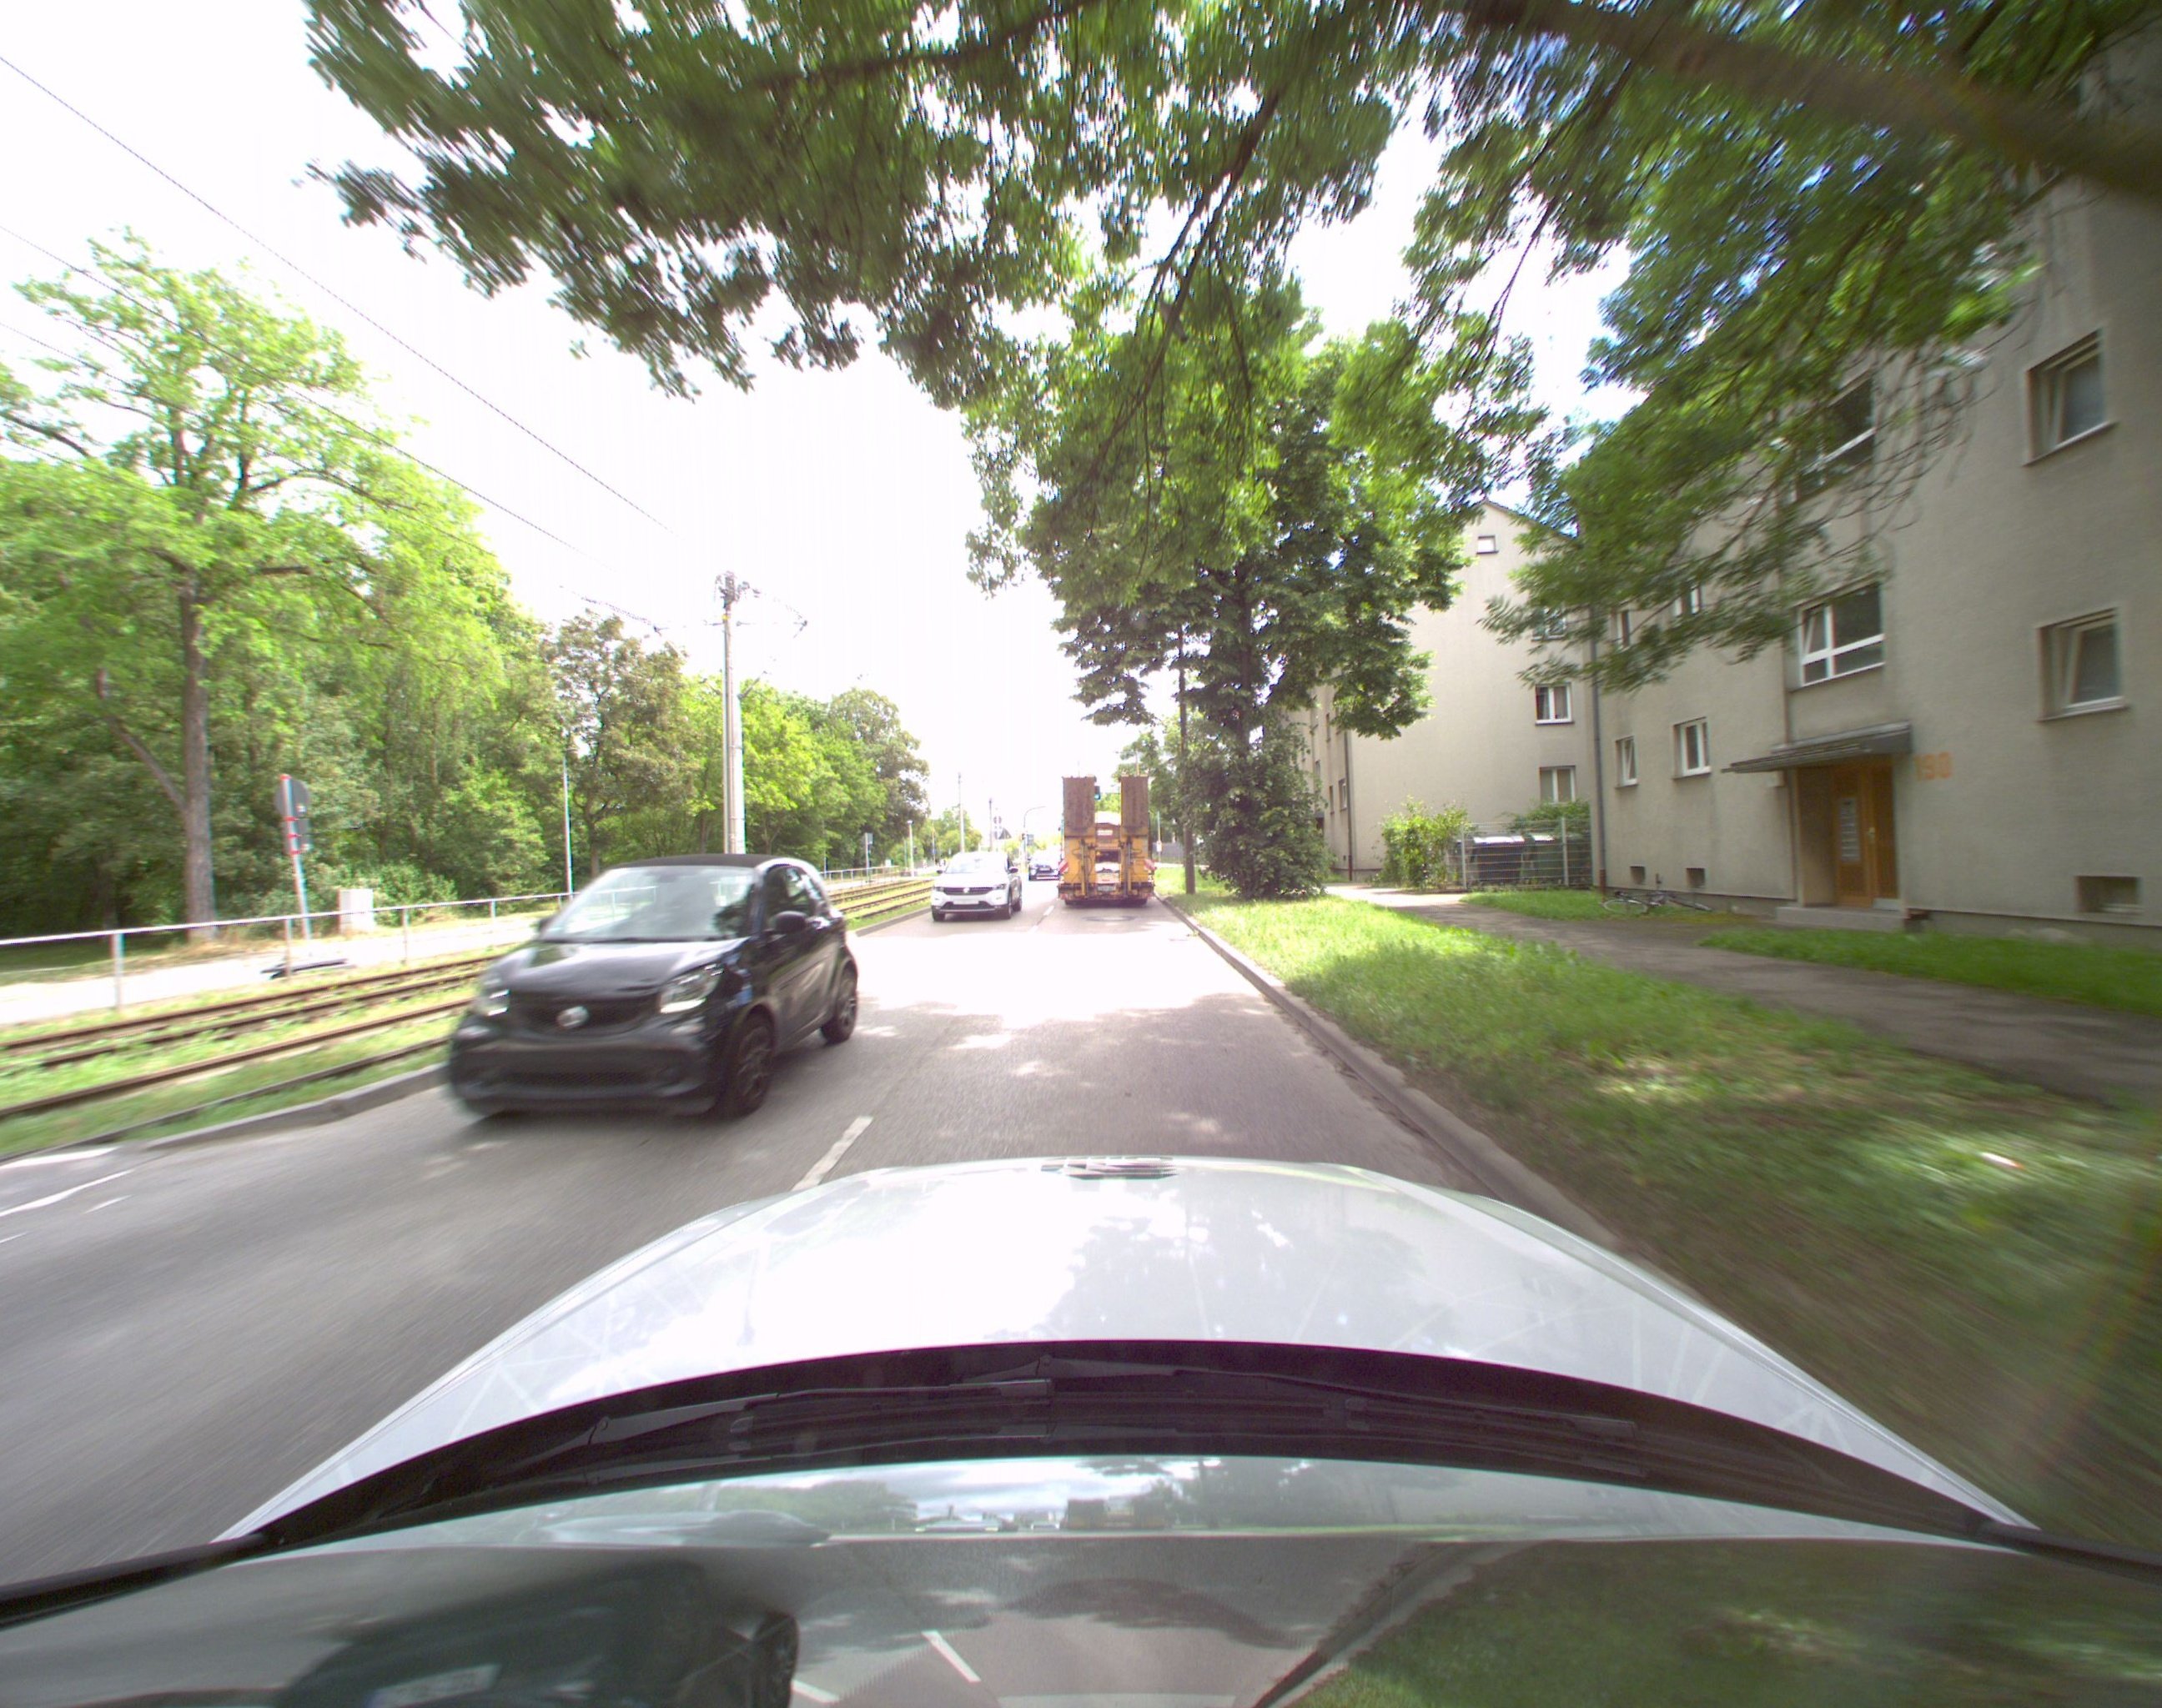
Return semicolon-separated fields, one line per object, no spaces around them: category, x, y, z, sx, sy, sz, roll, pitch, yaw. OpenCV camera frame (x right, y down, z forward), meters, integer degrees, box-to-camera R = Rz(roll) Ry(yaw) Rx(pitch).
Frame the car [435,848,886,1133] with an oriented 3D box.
car;-2.686;0.732;6.088;1.631;1.533;3.275;-1;0;0

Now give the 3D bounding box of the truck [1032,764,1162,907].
truck;0.425;-0.399;27.402;3.305;3.651;12.559;-1;-1;0

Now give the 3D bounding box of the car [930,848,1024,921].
car;-2.413;0.654;19.772;1.710;1.544;4.000;-1;1;1

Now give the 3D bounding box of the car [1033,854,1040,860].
car;-12.585;0.879;229.675;1.990;1.420;3.992;-1;-1;-5

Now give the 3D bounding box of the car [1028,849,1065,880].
car;-1.831;0.549;44.024;1.707;1.566;4.167;-1;0;1

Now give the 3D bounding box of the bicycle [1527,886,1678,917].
bicycle;9.300;0.853;14.611;2.190;0.508;0.675;-1;-1;12
